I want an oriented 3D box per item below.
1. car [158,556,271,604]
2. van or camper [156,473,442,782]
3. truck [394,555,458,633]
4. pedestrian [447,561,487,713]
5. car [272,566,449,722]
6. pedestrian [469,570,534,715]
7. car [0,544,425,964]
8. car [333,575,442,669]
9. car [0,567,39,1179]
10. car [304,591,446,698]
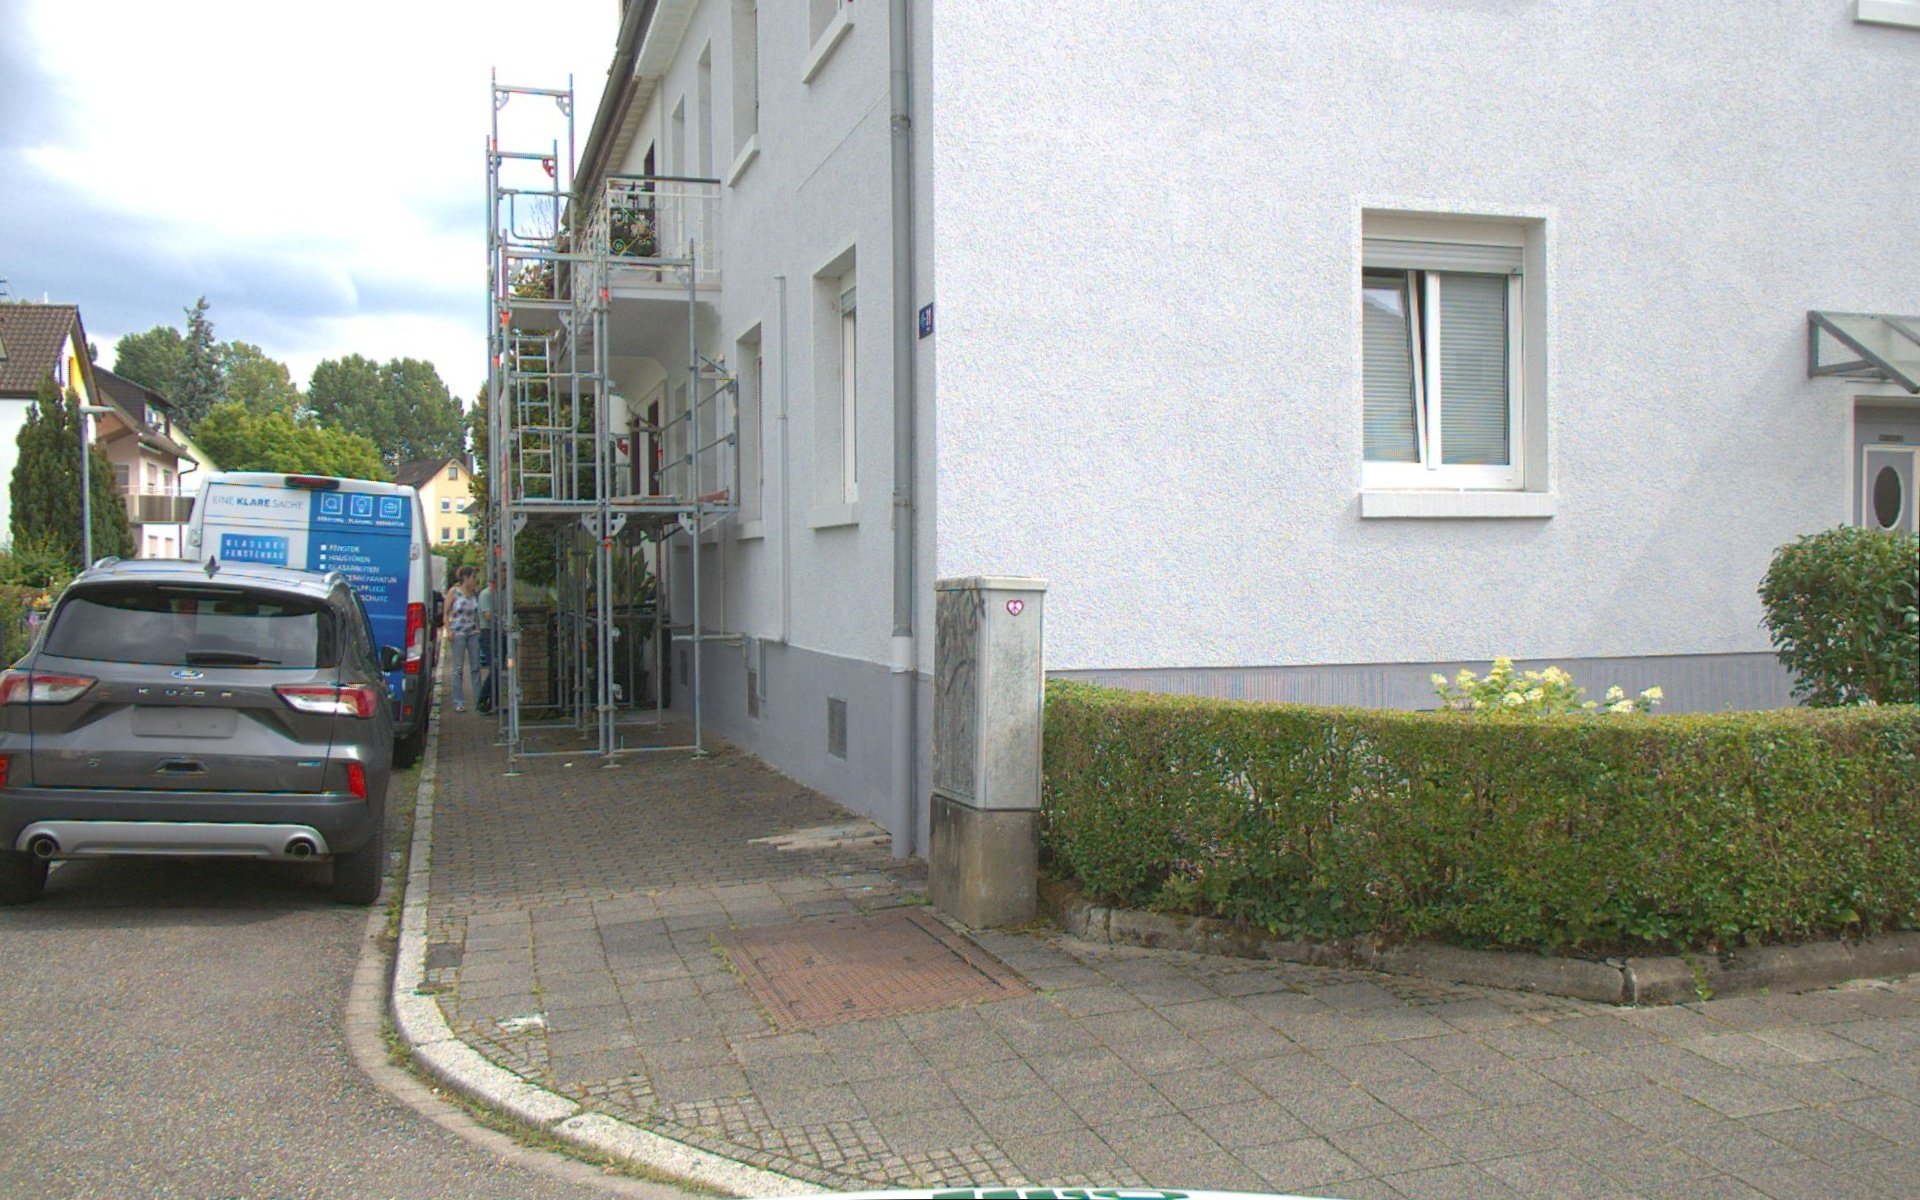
[{"bbox_3d":[-29.706,-0.795,66.016,3.930,1.803,1.858,-1,0,-21],"label":"car"},{"bbox_3d":[-6.200,0.168,16.102,2.158,2.502,5.029,-1,1,-18],"label":"van or camper"},{"bbox_3d":[-19.583,-0.240,60.551,2.098,2.703,4.559,-1,1,-19],"label":"truck"},{"bbox_3d":[-5.934,0.436,19.907,0.401,1.793,0.510,-1,-1,-21],"label":"pedestrian"},{"bbox_3d":[-7.845,0.480,21.749,1.964,1.803,4.317,-1,1,-20],"label":"car"},{"bbox_3d":[-5.357,0.490,19.344,0.589,1.658,0.625,-1,-1,-5],"label":"pedestrian"},{"bbox_3d":[-4.102,0.615,9.255,1.964,1.757,4.317,-1,1,-20],"label":"car"},{"bbox_3d":[-11.858,0.395,34.255,1.964,1.780,4.317,-1,1,-20],"label":"car"},{"bbox_3d":[-2.932,0.685,2.298,1.784,1.546,4.030,0,0,-12],"label":"car"},{"bbox_3d":[-9.377,0.639,26.547,1.964,1.481,4.317,-1,1,-20],"label":"car"}]
